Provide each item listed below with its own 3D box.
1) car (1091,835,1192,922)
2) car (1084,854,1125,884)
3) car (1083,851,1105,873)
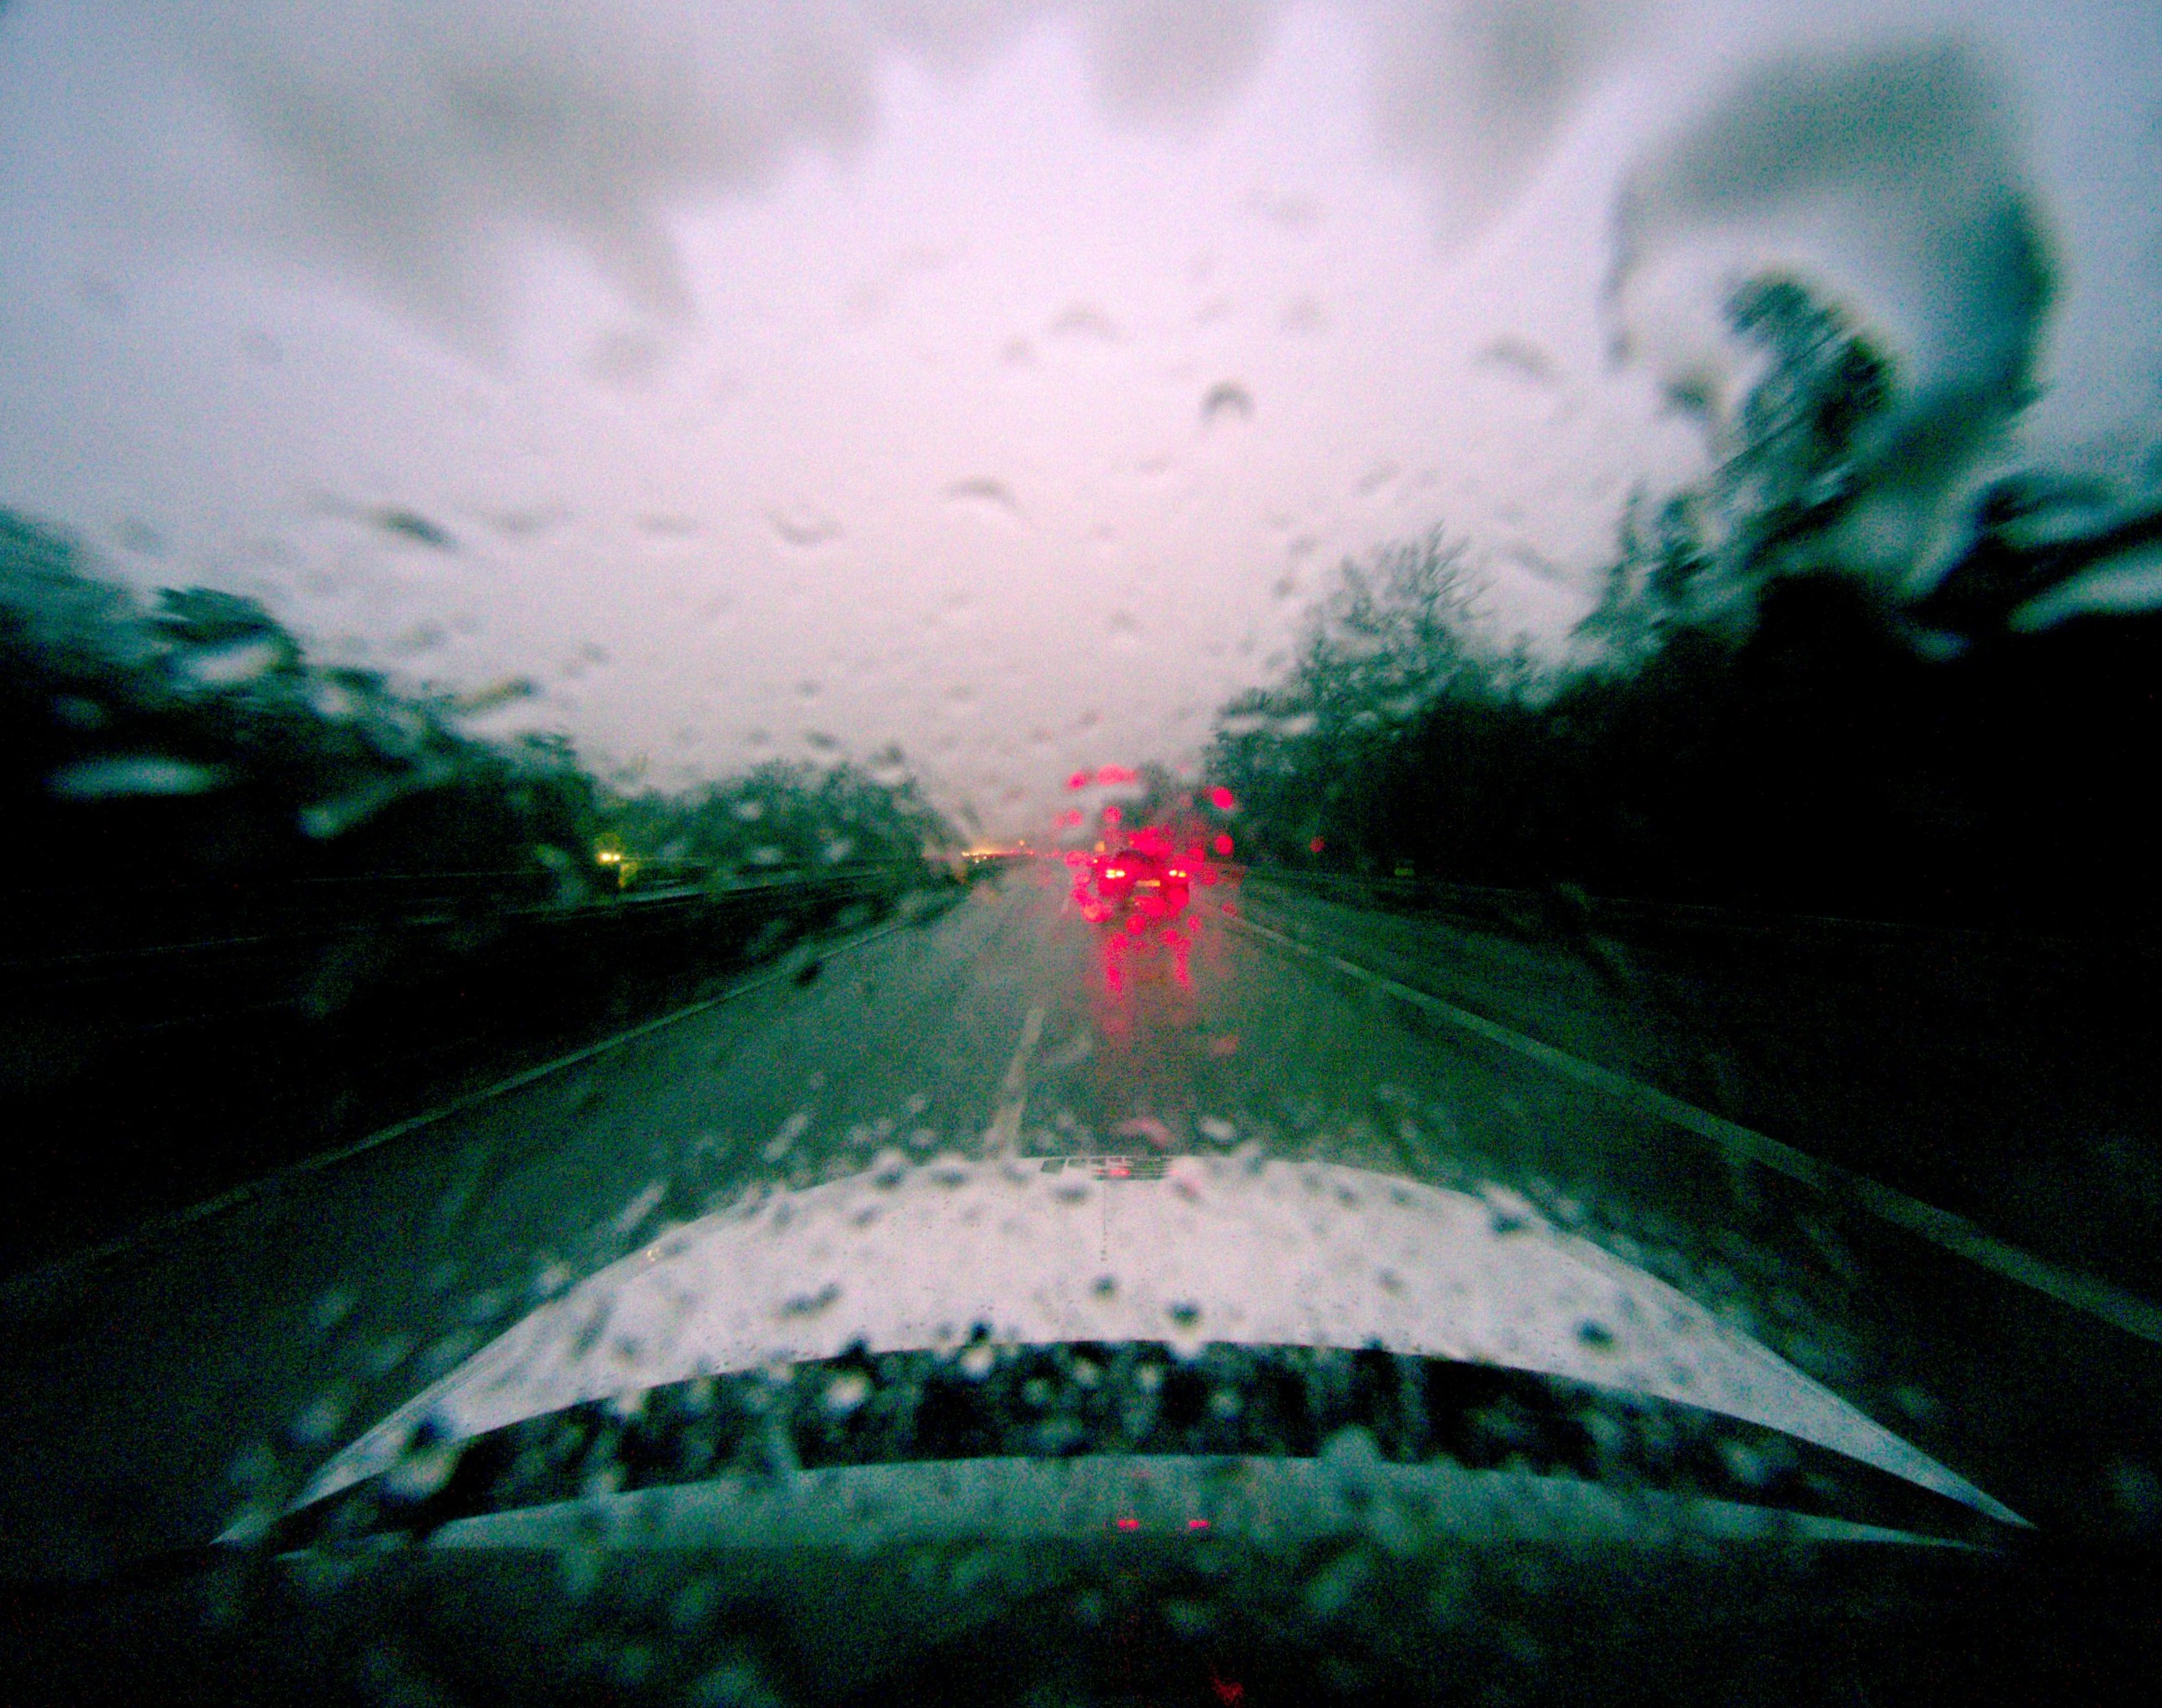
[{"bbox_3d":[1.243,0.495,18.335,1.985,1.715,3.830,-1,0,0],"label":"car"},{"bbox_3d":[1.238,0.756,41.908,1.986,1.420,4.002,1,0,2],"label":"car"},{"bbox_3d":[1.232,0.742,78.492,1.987,2.013,4.000,-1,0,0],"label":"car"}]
